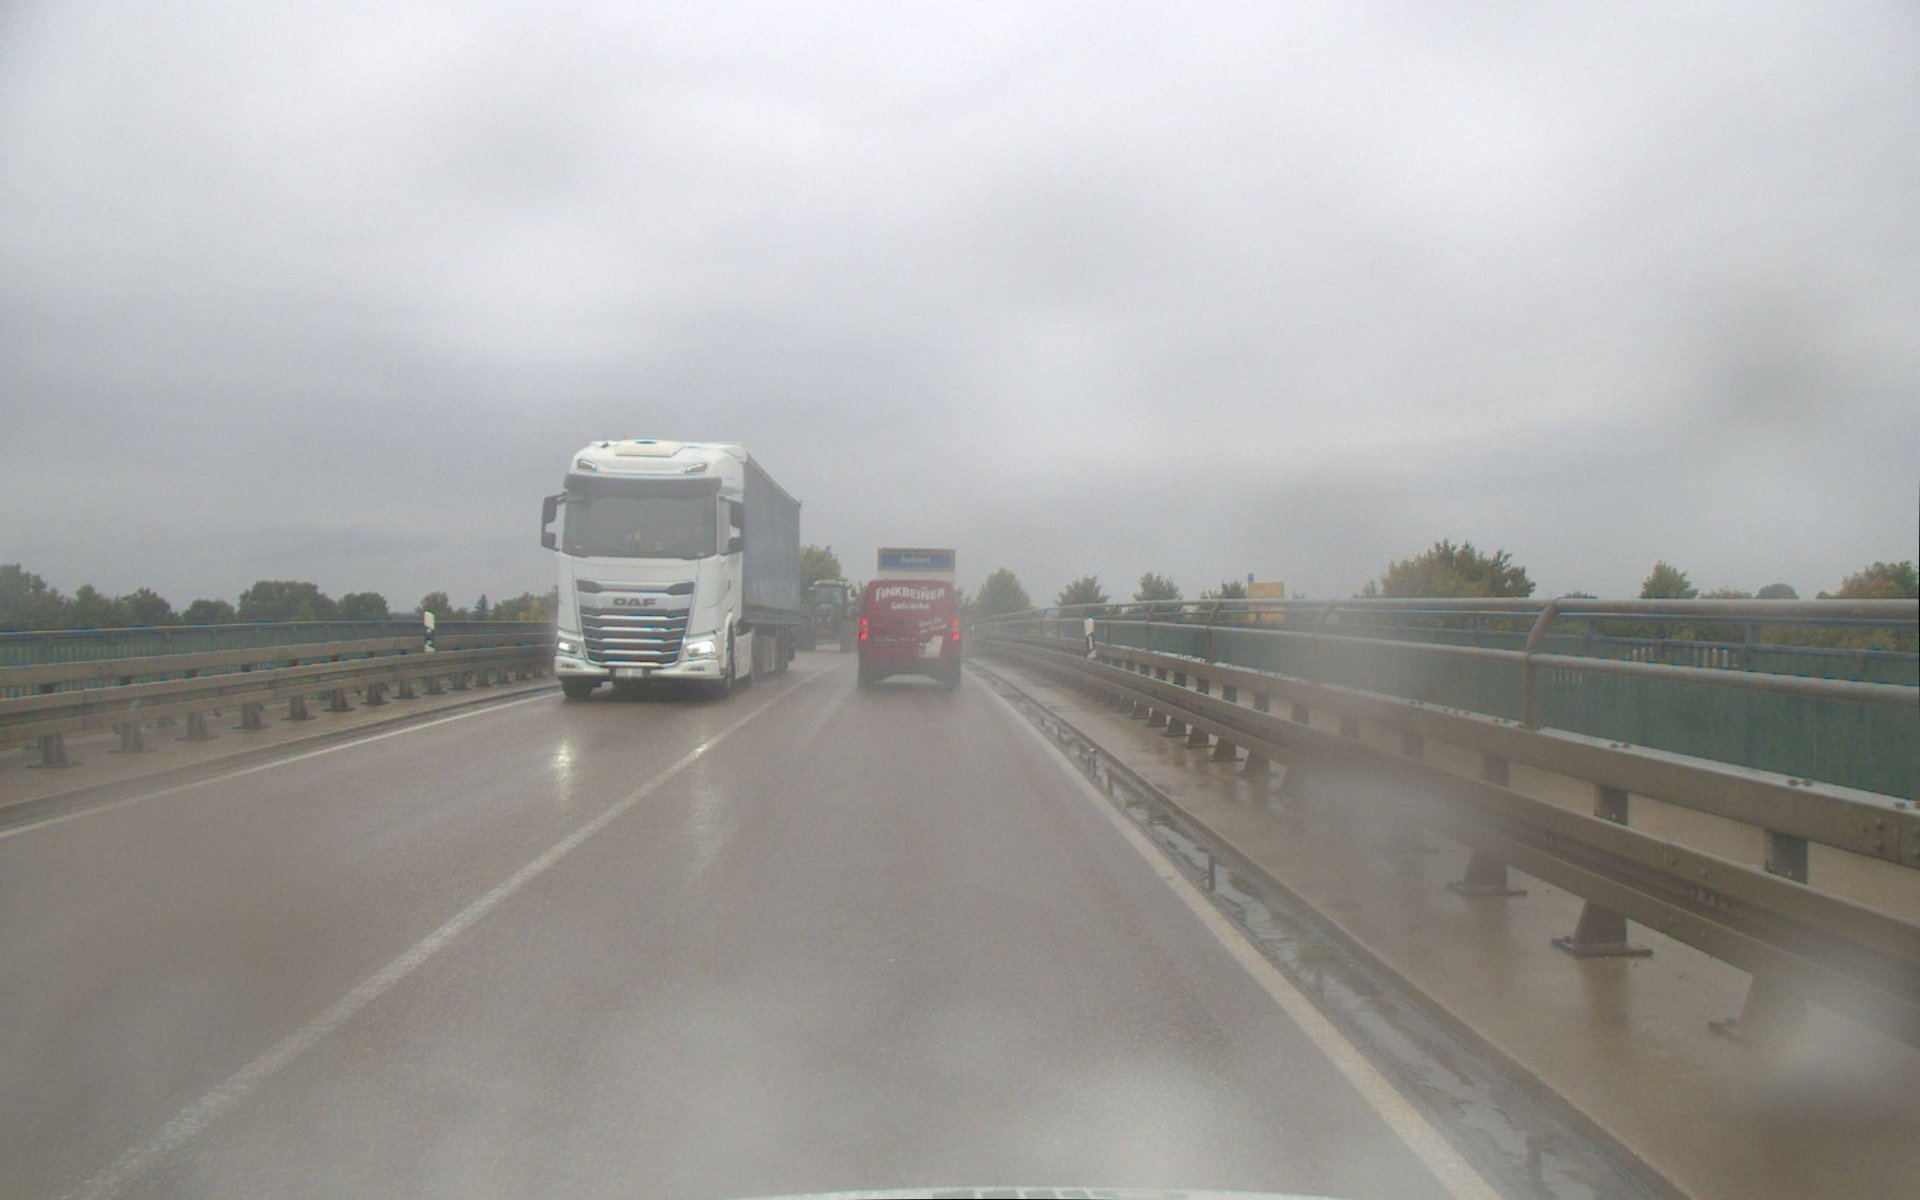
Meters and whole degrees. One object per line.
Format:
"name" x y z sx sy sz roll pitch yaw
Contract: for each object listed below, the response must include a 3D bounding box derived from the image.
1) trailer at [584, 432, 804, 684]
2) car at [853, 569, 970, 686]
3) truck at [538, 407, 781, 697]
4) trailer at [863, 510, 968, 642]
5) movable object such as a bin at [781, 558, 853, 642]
"trailer" -4.923 -0.669 33.464 2.761 4.040 13.729 0 0 -2
"car" -0.914 0.442 30.153 1.953 1.959 4.141 1 1 -3
"truck" -4.683 -0.670 27.571 2.761 4.040 8.759 0 0 -2
"trailer" -1.661 -0.727 56.807 3.138 3.990 8.733 3 -1 -3
"movable object such as a bin" -6.193 0.009 72.223 2.692 3.506 4.643 0 0 0
